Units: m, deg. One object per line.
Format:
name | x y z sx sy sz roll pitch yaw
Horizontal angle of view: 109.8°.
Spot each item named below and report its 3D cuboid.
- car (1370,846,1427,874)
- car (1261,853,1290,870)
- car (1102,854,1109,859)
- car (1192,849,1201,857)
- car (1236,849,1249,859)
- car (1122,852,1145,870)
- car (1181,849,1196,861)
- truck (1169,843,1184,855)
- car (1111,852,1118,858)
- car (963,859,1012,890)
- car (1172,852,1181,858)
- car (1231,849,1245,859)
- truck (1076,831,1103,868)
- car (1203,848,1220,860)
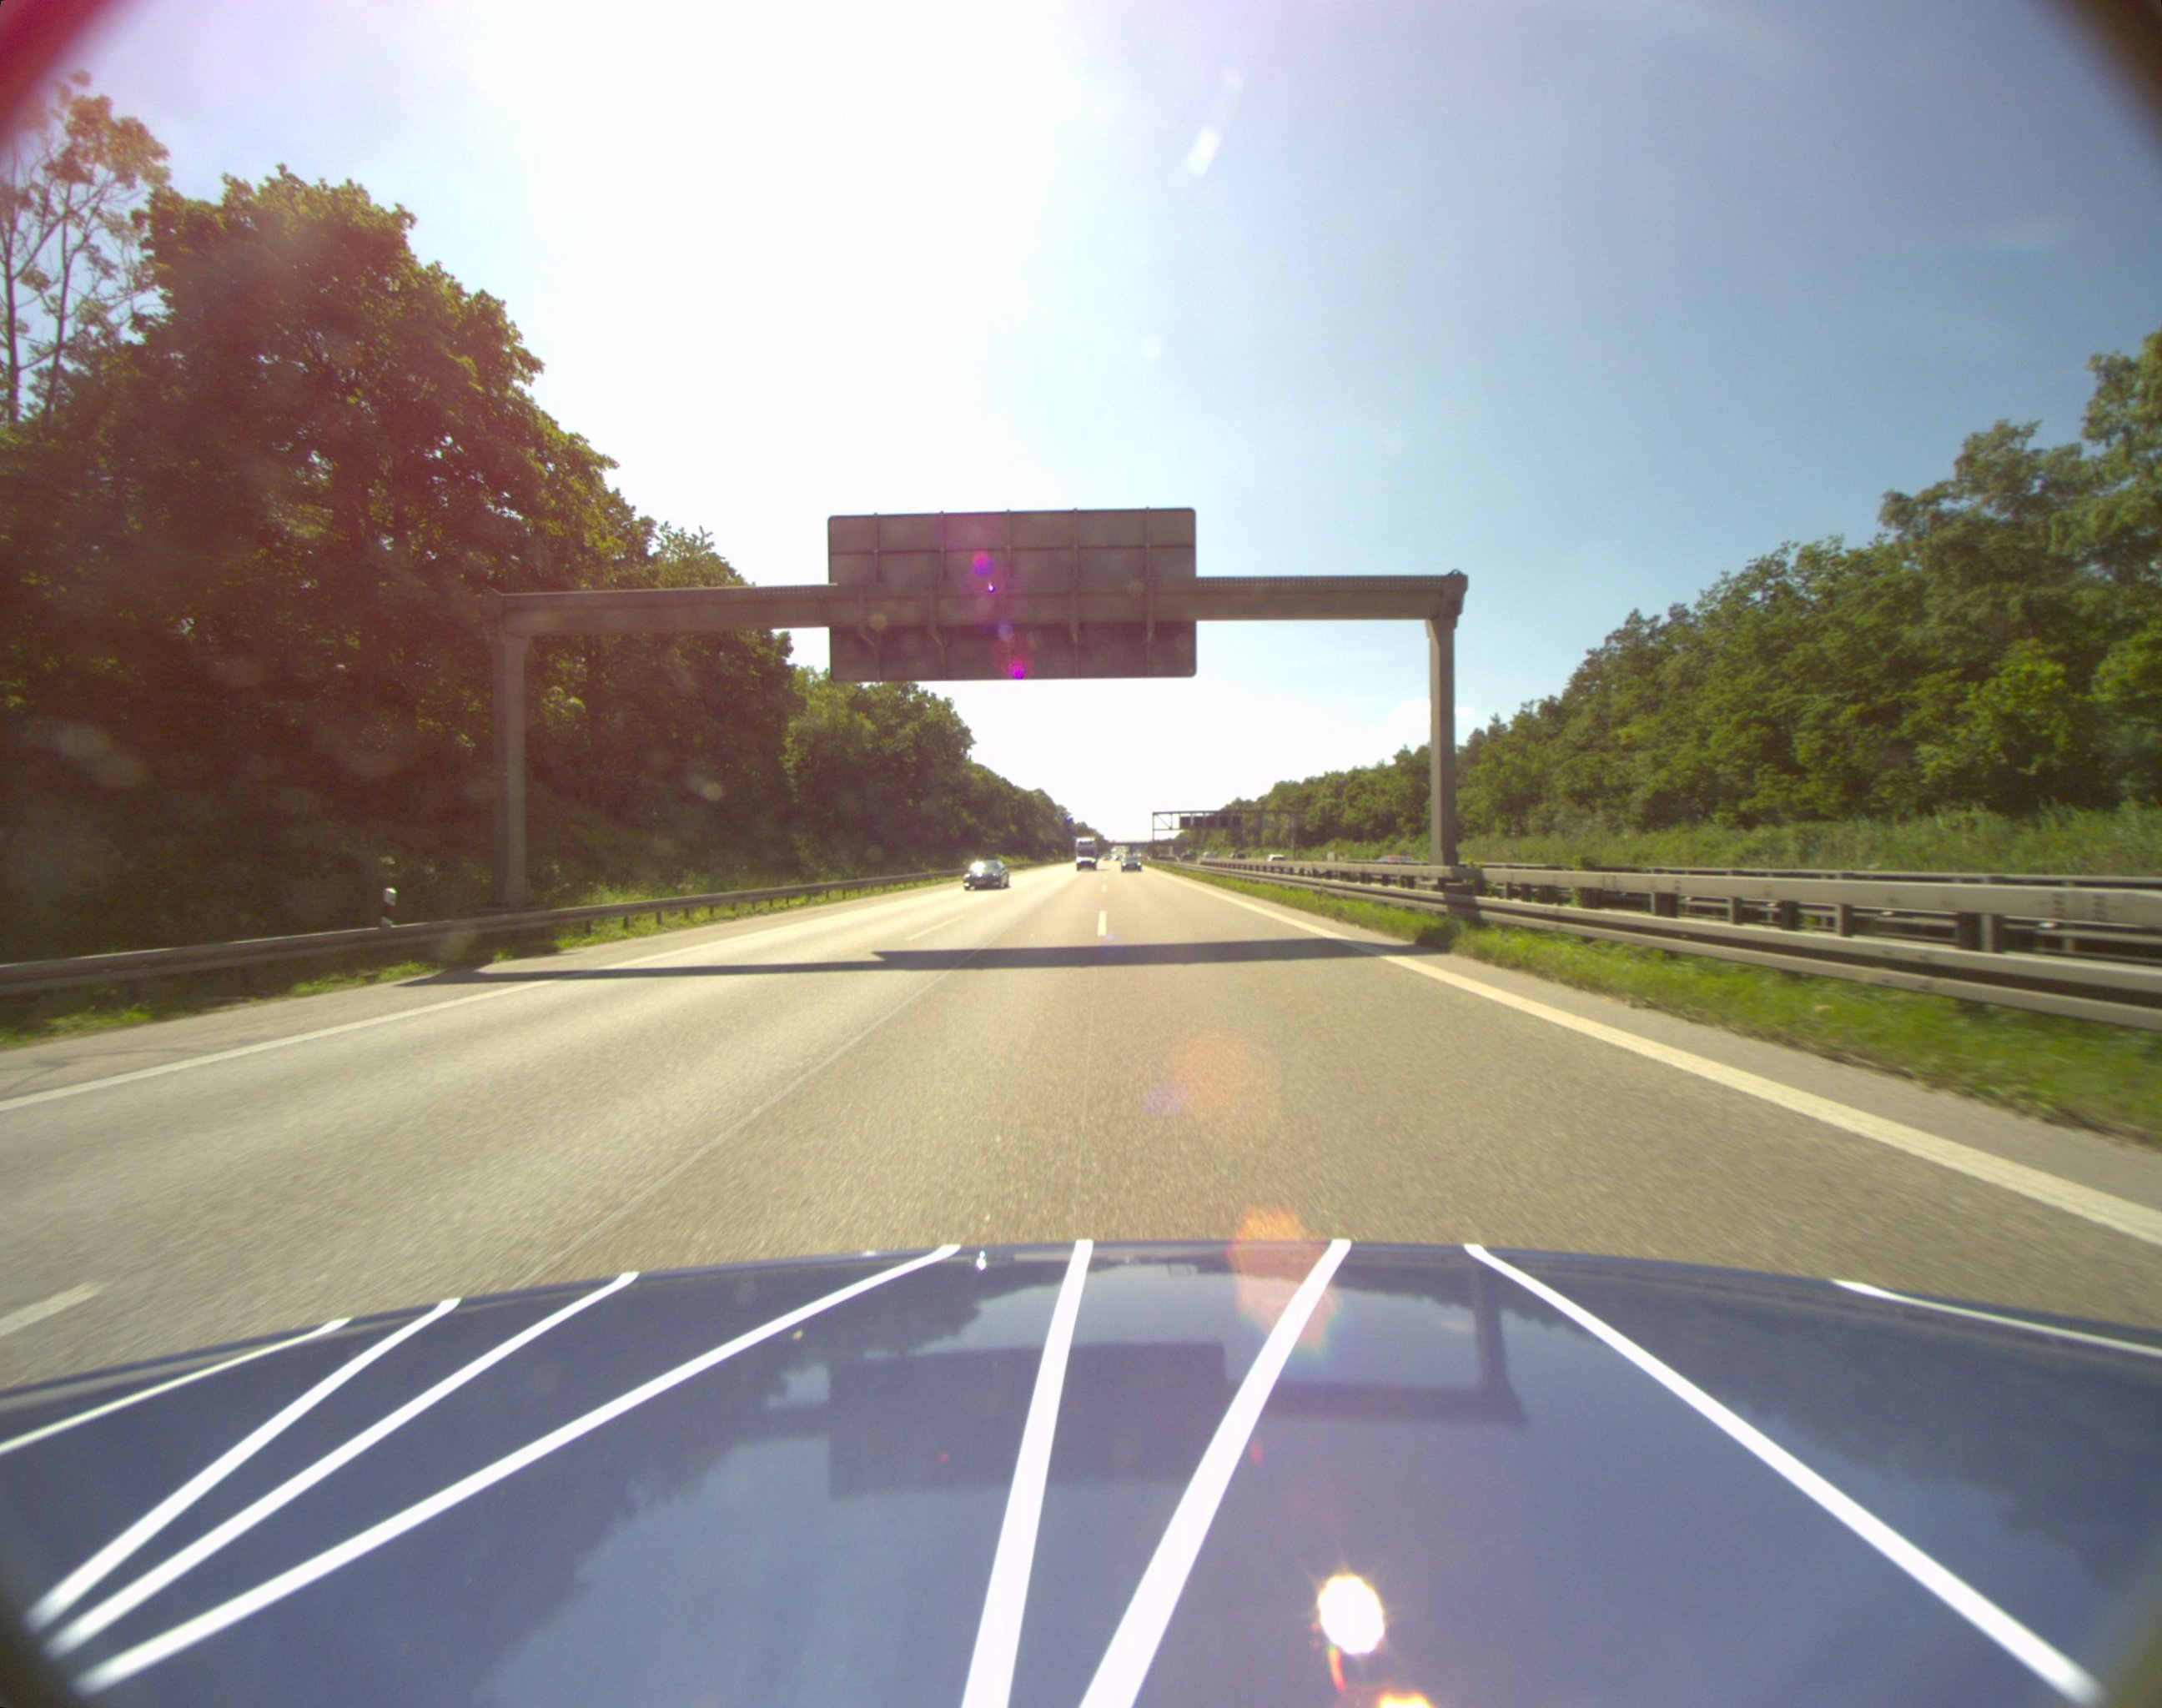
car | 17.104 0.309 41.051 1.599 1.434 3.542 2 0 1
car | 16.818 0.618 65.976 1.599 1.434 3.542 2 0 1
car | 6.418 0.605 202.465 1.831 1.346 3.679 0 0 1
car | 27.553 -0.257 181.371 1.659 1.842 3.680 0 0 1
car | 24.490 0.009 115.148 1.442 1.354 2.726 -1 0 1
car | 4.597 0.604 67.113 1.814 1.483 3.728 -1 0 1
car | 16.258 0.114 114.966 1.749 1.701 3.242 -1 0 1
truck | 29.893 -1.555 238.698 3.605 3.847 9.650 0 0 1
car | 8.323 0.259 188.613 1.831 1.346 3.679 0 0 1
car | -4.724 1.008 38.859 1.916 1.390 4.138 -1 0 1
car | 22.975 0.154 182.645 1.659 1.379 3.680 0 0 1
car | 24.508 0.004 118.883 1.542 1.486 3.389 -1 0 1
truck | 0.872 -0.419 79.346 2.676 3.661 6.483 -1 0 1
car | 19.994 0.017 116.682 1.949 1.701 3.797 -1 0 1
